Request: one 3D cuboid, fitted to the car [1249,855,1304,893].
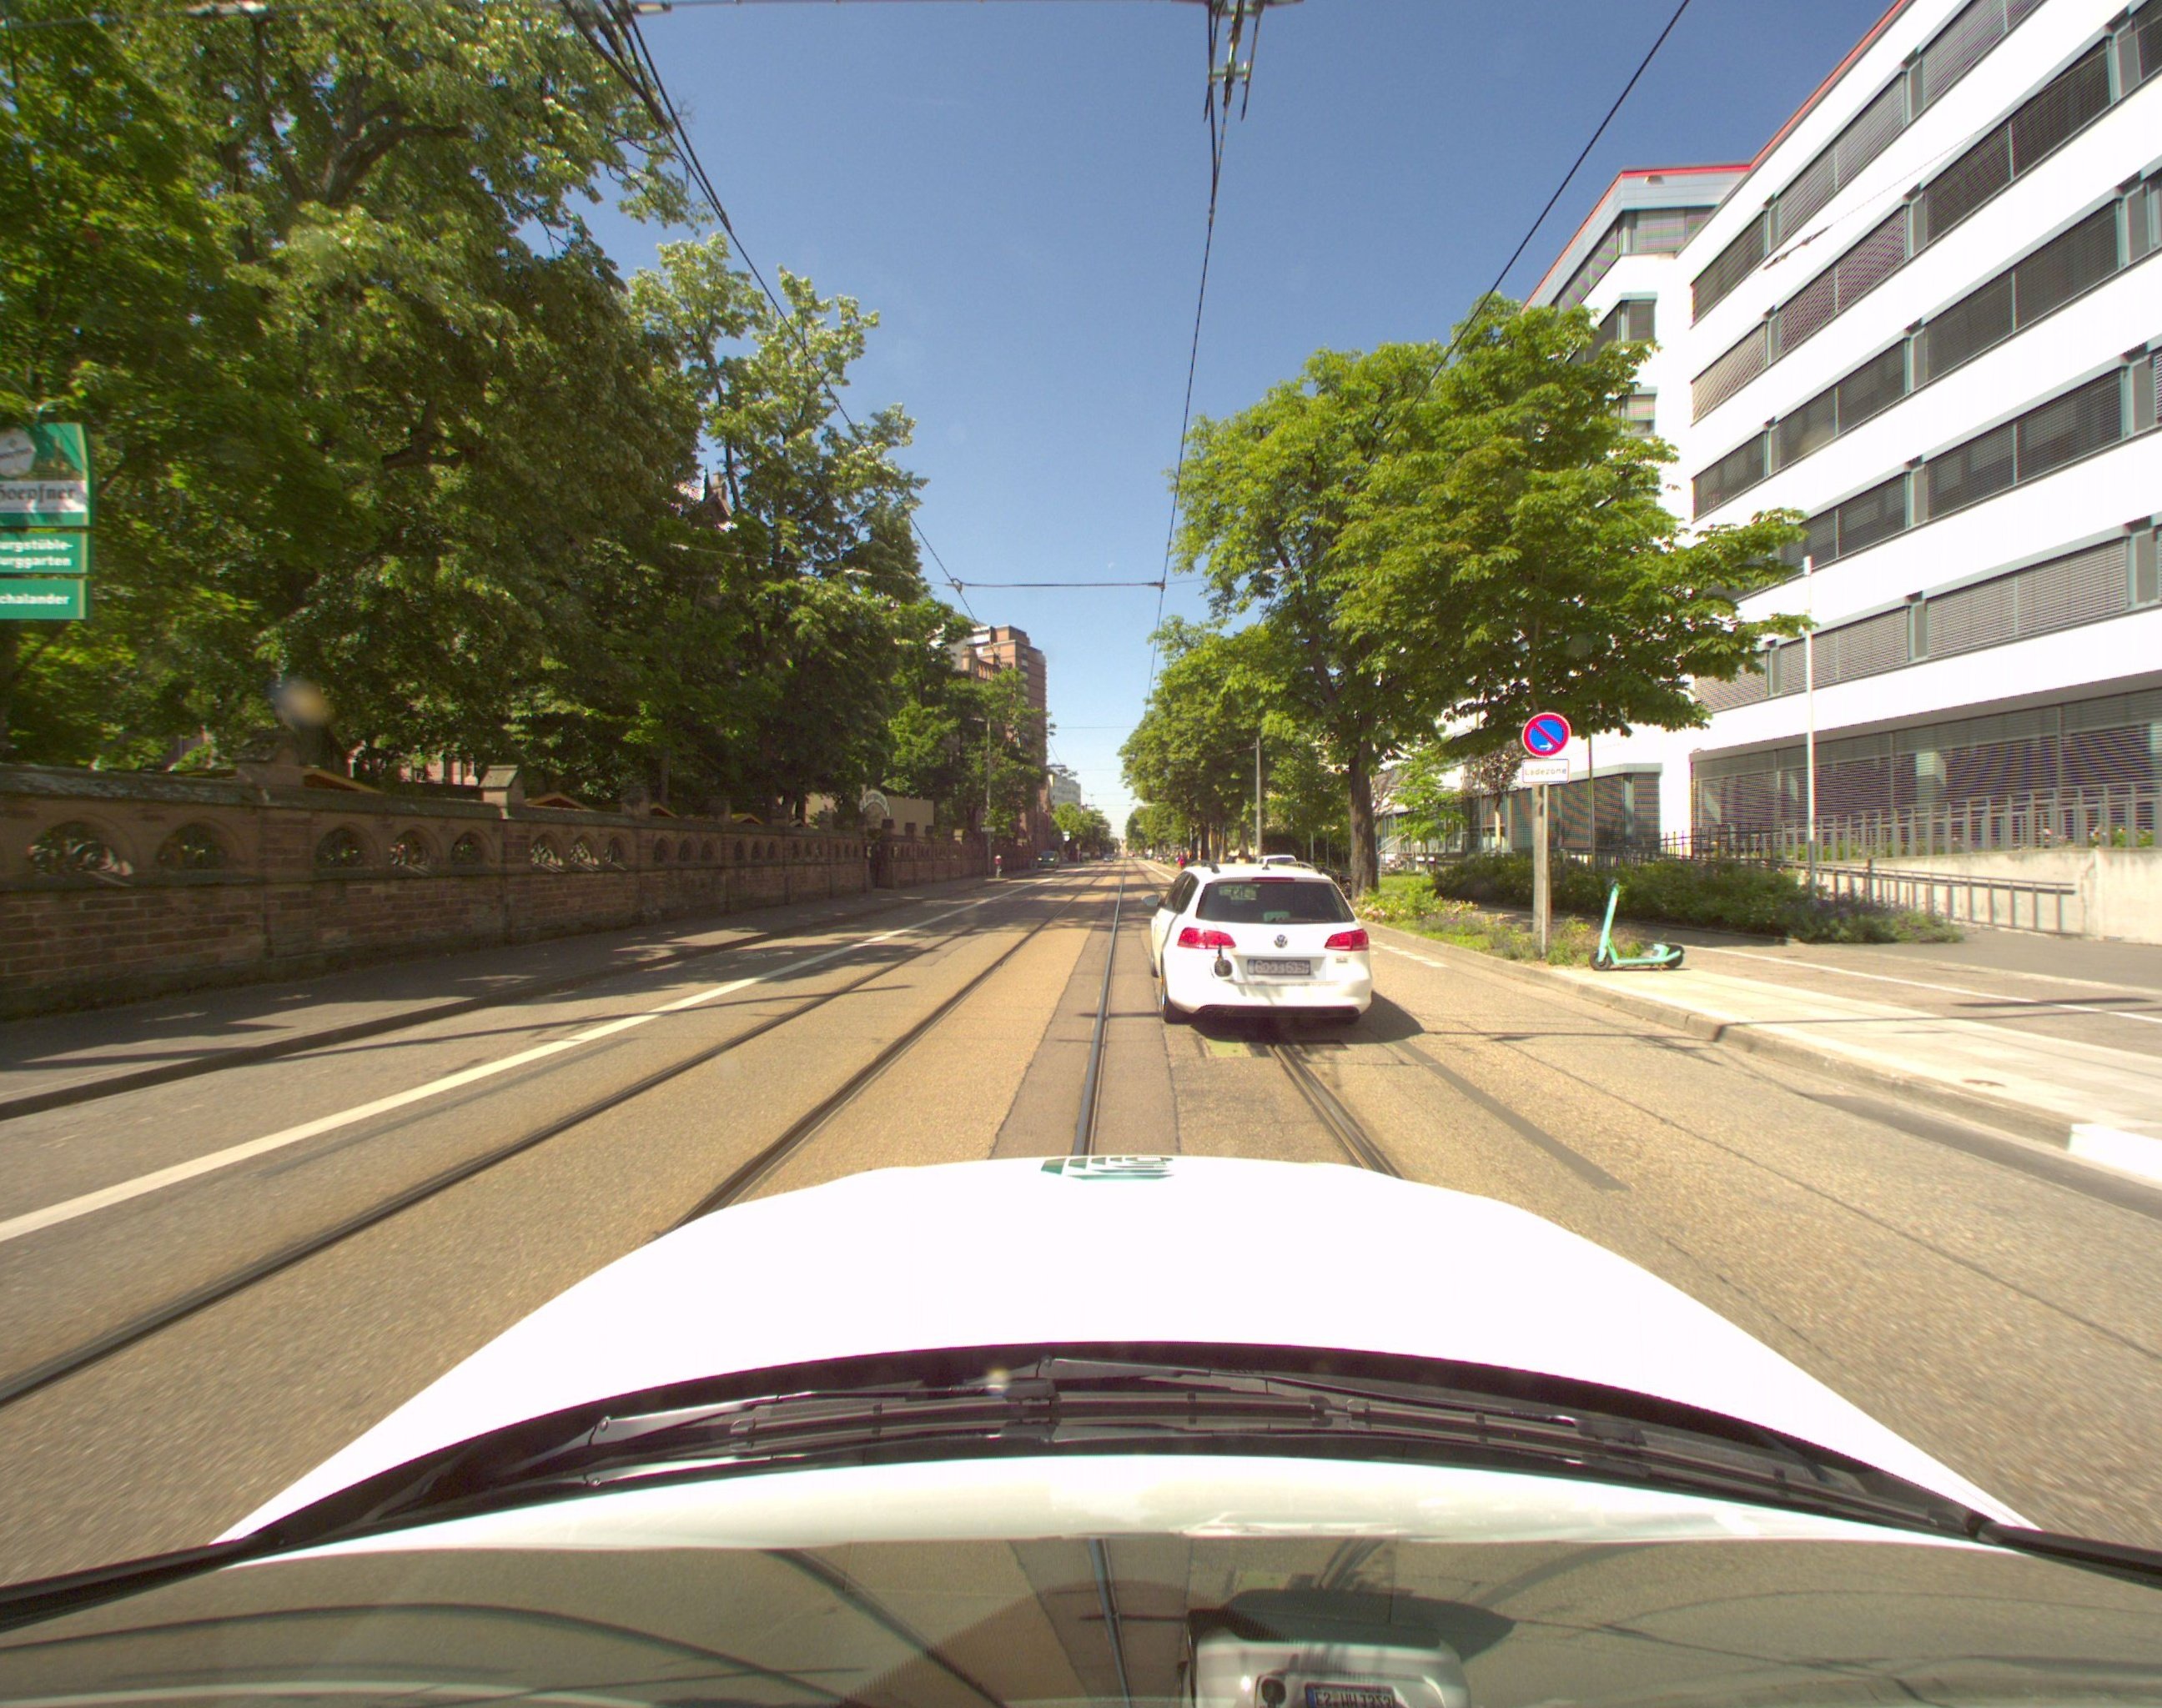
[{"bbox_3d":[8.152,0.798,34.254,1.583,1.451,3.950,-1,0,4],"label":"car"}]

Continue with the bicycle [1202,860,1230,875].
[{"bbox_3d":[9.211,0.911,55.621,1.782,1.010,0.487,-1,0,-2],"label":"bicycle"}]

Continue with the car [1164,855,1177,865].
[{"bbox_3d":[12.814,0.798,117.087,1.706,1.401,3.847,-1,0,4],"label":"car"}]

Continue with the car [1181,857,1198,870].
[{"bbox_3d":[11.378,1.022,85.547,1.704,1.280,3.851,-1,0,7],"label":"car"}]

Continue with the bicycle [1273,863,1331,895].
[{"bbox_3d":[7.923,0.887,29.178,1.905,1.083,0.551,2,0,0],"label":"bicycle"}]

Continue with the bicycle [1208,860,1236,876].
[{"bbox_3d":[9.215,0.929,53.242,1.782,1.010,0.487,-1,0,-2],"label":"bicycle"}]

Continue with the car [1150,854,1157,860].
[{"bbox_3d":[17.029,0.730,191.258,1.706,1.401,3.847,-1,0,4],"label":"car"}]

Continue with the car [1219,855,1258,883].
[{"bbox_3d":[8.908,0.821,46.352,1.657,1.444,4.638,-1,0,4],"label":"car"}]

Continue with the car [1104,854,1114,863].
[{"bbox_3d":[4.817,0.788,140.454,1.486,1.384,3.646,-1,0,4],"label":"car"}]

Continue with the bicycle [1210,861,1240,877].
[{"bbox_3d":[9.204,0.937,52.080,1.782,1.010,0.487,-1,0,-2],"label":"bicycle"}]

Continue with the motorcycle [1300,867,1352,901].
[{"bbox_3d":[7.741,0.936,25.736,1.460,1.046,0.534,-1,0,0],"label":"motorcycle"}]

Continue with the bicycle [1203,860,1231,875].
[{"bbox_3d":[9.219,0.915,55.100,1.782,1.010,0.487,-1,0,-2],"label":"bicycle"}]

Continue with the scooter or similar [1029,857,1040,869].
[{"bbox_3d":[-4.479,0.872,78.452,0.400,1.155,1.150,-1,0,37],"label":"scooter or similar"}]

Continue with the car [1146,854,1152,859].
[{"bbox_3d":[18.519,0.613,221.620,1.706,1.401,3.847,-1,0,4],"label":"car"}]

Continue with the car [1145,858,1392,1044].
[{"bbox_3d":[1.633,0.768,8.561,1.747,1.442,4.415,0,0,2],"label":"car"}]

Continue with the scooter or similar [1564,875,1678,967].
[{"bbox_3d":[7.035,0.856,10.644,1.136,1.154,0.494,0,0,9],"label":"scooter or similar"}]

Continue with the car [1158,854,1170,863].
[{"bbox_3d":[13.754,0.743,135.109,1.706,1.401,3.846,-1,0,3],"label":"car"}]

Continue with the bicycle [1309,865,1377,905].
[{"bbox_3d":[7.587,0.891,23.587,1.768,1.083,0.596,-1,0,0],"label":"bicycle"}]

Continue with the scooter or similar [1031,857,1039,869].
[{"bbox_3d":[-4.611,0.882,81.955,0.419,1.200,1.148,-1,0,18],"label":"scooter or similar"}]

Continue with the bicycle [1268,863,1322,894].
[{"bbox_3d":[7.989,0.909,30.432,1.879,1.083,0.551,1,0,0],"label":"bicycle"}]

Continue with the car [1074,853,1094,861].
[{"bbox_3d":[0.657,0.697,187.020,4.014,1.816,1.980,-1,0,-33],"label":"car"}]

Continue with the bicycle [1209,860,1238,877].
[{"bbox_3d":[9.207,0.933,52.664,1.782,1.010,0.487,-1,0,-2],"label":"bicycle"}]

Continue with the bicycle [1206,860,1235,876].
[{"bbox_3d":[9.204,0.924,53.827,1.782,1.010,0.487,-1,0,-2],"label":"bicycle"}]

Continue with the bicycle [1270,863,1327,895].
[{"bbox_3d":[7.937,0.894,29.791,1.905,1.083,0.551,2,0,0],"label":"bicycle"}]

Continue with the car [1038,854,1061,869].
[{"bbox_3d":[-3.644,0.861,94.828,1.984,1.757,4.719,-1,0,6],"label":"car"}]

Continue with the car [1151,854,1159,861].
[{"bbox_3d":[16.306,0.760,180.036,1.706,1.401,3.847,-1,0,4],"label":"car"}]

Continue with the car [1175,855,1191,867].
[{"bbox_3d":[11.984,0.833,95.431,1.705,1.401,3.848,-1,0,5],"label":"car"}]

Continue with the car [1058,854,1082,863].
[{"bbox_3d":[-2.034,0.784,153.755,4.129,1.530,1.920,1,0,-18],"label":"car"}]

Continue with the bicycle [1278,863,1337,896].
[{"bbox_3d":[7.930,0.893,28.577,1.905,1.083,0.551,1,0,0],"label":"bicycle"}]

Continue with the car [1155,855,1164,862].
[{"bbox_3d":[15.396,0.917,160.283,1.706,1.401,3.847,-1,0,4],"label":"car"}]

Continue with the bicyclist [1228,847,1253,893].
[{"bbox_3d":[5.770,0.559,29.433,0.782,1.629,0.739,-1,0,3],"label":"bicyclist"}]

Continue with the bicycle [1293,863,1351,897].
[{"bbox_3d":[8.085,0.868,27.320,1.768,1.120,0.596,-1,0,0],"label":"bicycle"}]

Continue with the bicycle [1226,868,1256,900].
[{"bbox_3d":[5.762,1.044,29.371,0.807,1.078,2.014,0,0,4],"label":"bicycle"}]
